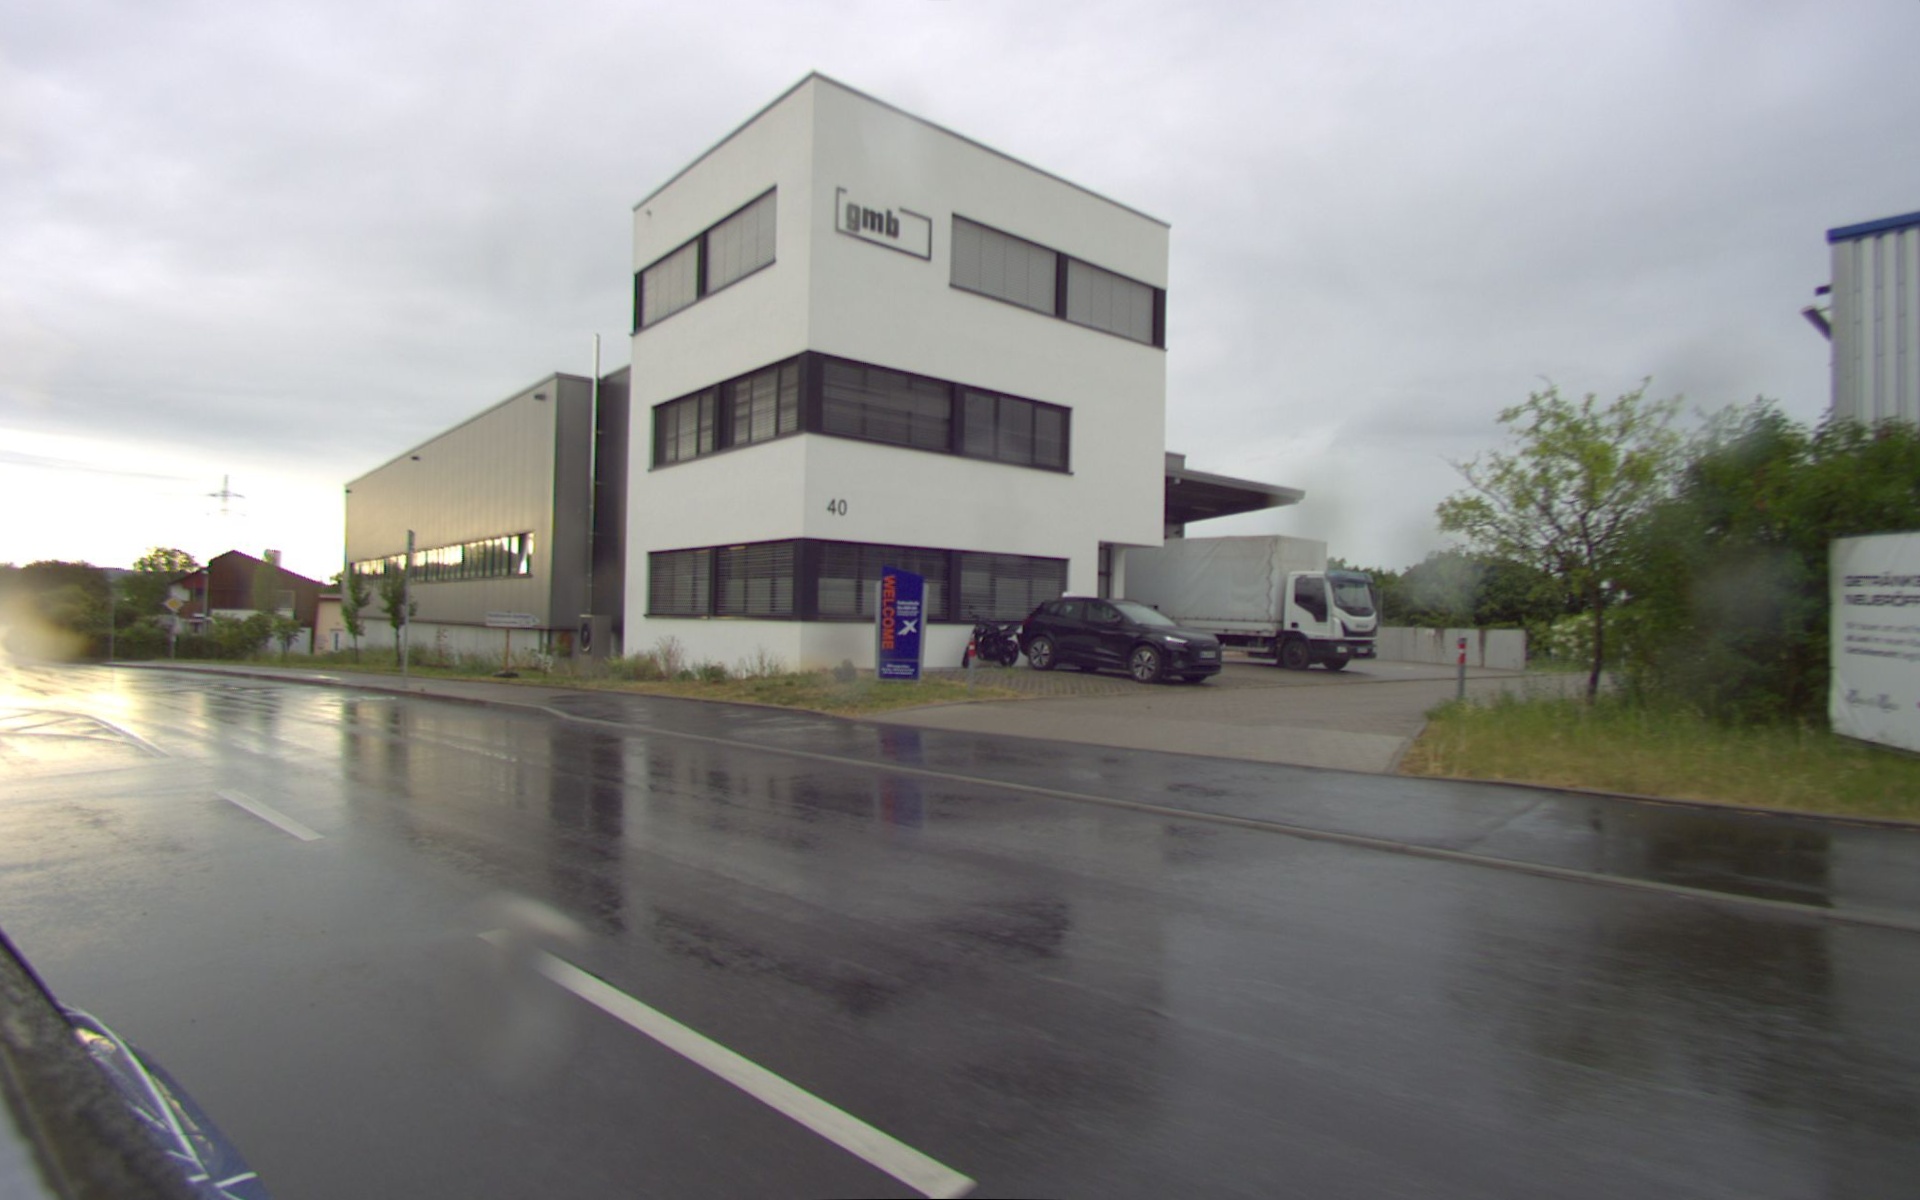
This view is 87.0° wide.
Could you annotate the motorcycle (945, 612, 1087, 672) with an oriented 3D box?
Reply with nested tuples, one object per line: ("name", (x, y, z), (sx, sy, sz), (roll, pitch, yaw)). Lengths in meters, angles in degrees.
("motorcycle", (1.316, 0.909, 22.812), (3.638, 1.253, 0.779), (0, -1, -40))

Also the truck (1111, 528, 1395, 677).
("truck", (7.877, 0.124, 28.160), (2.636, 3.604, 7.348), (0, -1, -40))

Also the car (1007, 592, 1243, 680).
("car", (3.273, 0.728, 20.825), (1.830, 1.608, 4.610), (0, -2, -43))
